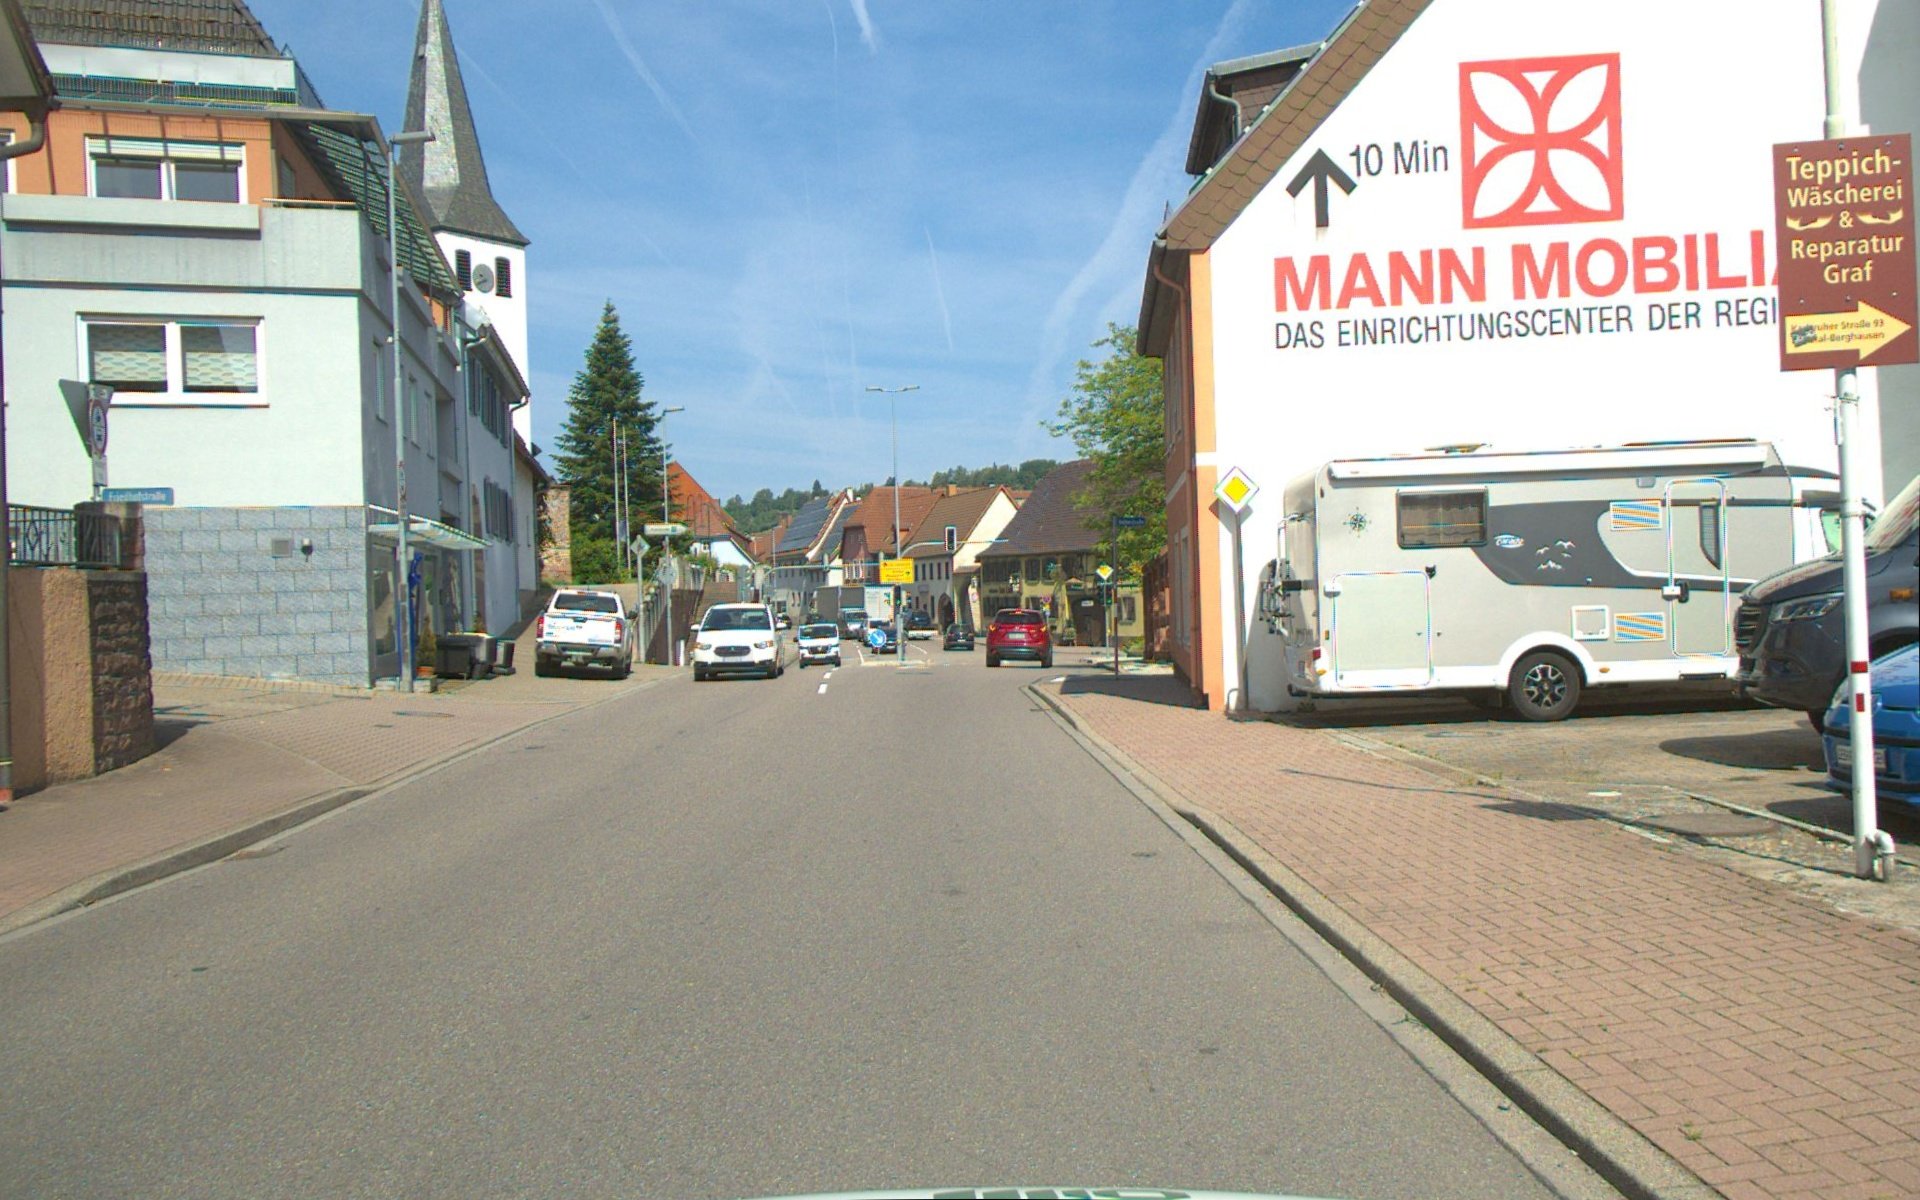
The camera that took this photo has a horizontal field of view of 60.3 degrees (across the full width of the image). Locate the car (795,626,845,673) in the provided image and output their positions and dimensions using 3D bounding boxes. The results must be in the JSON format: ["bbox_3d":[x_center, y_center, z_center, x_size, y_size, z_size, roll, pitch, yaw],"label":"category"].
[{"bbox_3d":[-6.261,2.192,74.423,1.929,1.967,5.311,-2,-1,-2],"label":"car"}]

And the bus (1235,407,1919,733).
[{"bbox_3d":[6.422,-0.278,17.912,6.429,2.956,2.230,-3,-1,2],"label":"bus"}]

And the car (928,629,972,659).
[{"bbox_3d":[-0.635,2.754,105.245,1.791,1.769,3.988,-2,0,-15],"label":"car"}]

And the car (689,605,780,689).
[{"bbox_3d":[-4.593,0.917,34.084,1.696,1.569,3.807,-2,0,-6],"label":"car"}]

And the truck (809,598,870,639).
[{"bbox_3d":[-10.927,1.741,149.345,3.110,3.521,10.658,1,-2,-17],"label":"truck"}]

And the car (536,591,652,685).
[{"bbox_3d":[-7.789,0.771,35.634,1.770,1.830,5.279,2,-1,-6],"label":"car"}]

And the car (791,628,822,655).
[{"bbox_3d":[-13.357,3.550,143.443,1.730,2.285,4.529,1,-1,-18],"label":"car"}]

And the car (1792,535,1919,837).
[{"bbox_3d":[6.771,0.374,8.956,3.724,1.555,1.581,-2,0,-3],"label":"car"}]

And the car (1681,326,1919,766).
[{"bbox_3d":[8.591,-0.451,12.042,5.835,3.039,2.318,-2,0,19],"label":"car"}]

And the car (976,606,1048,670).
[{"bbox_3d":[1.540,1.063,47.837,1.766,1.692,3.815,-2,0,5],"label":"car"}]

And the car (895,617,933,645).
[{"bbox_3d":[-3.451,2.321,124.559,1.818,2.049,3.979,1,-1,-18],"label":"car"}]

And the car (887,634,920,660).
[{"bbox_3d":[-3.468,2.871,101.771,1.783,1.460,4.248,-1,0,1],"label":"car"}]

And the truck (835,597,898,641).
[{"bbox_3d":[-7.986,1.600,139.829,3.173,3.611,9.184,1,-1,-17],"label":"truck"}]
